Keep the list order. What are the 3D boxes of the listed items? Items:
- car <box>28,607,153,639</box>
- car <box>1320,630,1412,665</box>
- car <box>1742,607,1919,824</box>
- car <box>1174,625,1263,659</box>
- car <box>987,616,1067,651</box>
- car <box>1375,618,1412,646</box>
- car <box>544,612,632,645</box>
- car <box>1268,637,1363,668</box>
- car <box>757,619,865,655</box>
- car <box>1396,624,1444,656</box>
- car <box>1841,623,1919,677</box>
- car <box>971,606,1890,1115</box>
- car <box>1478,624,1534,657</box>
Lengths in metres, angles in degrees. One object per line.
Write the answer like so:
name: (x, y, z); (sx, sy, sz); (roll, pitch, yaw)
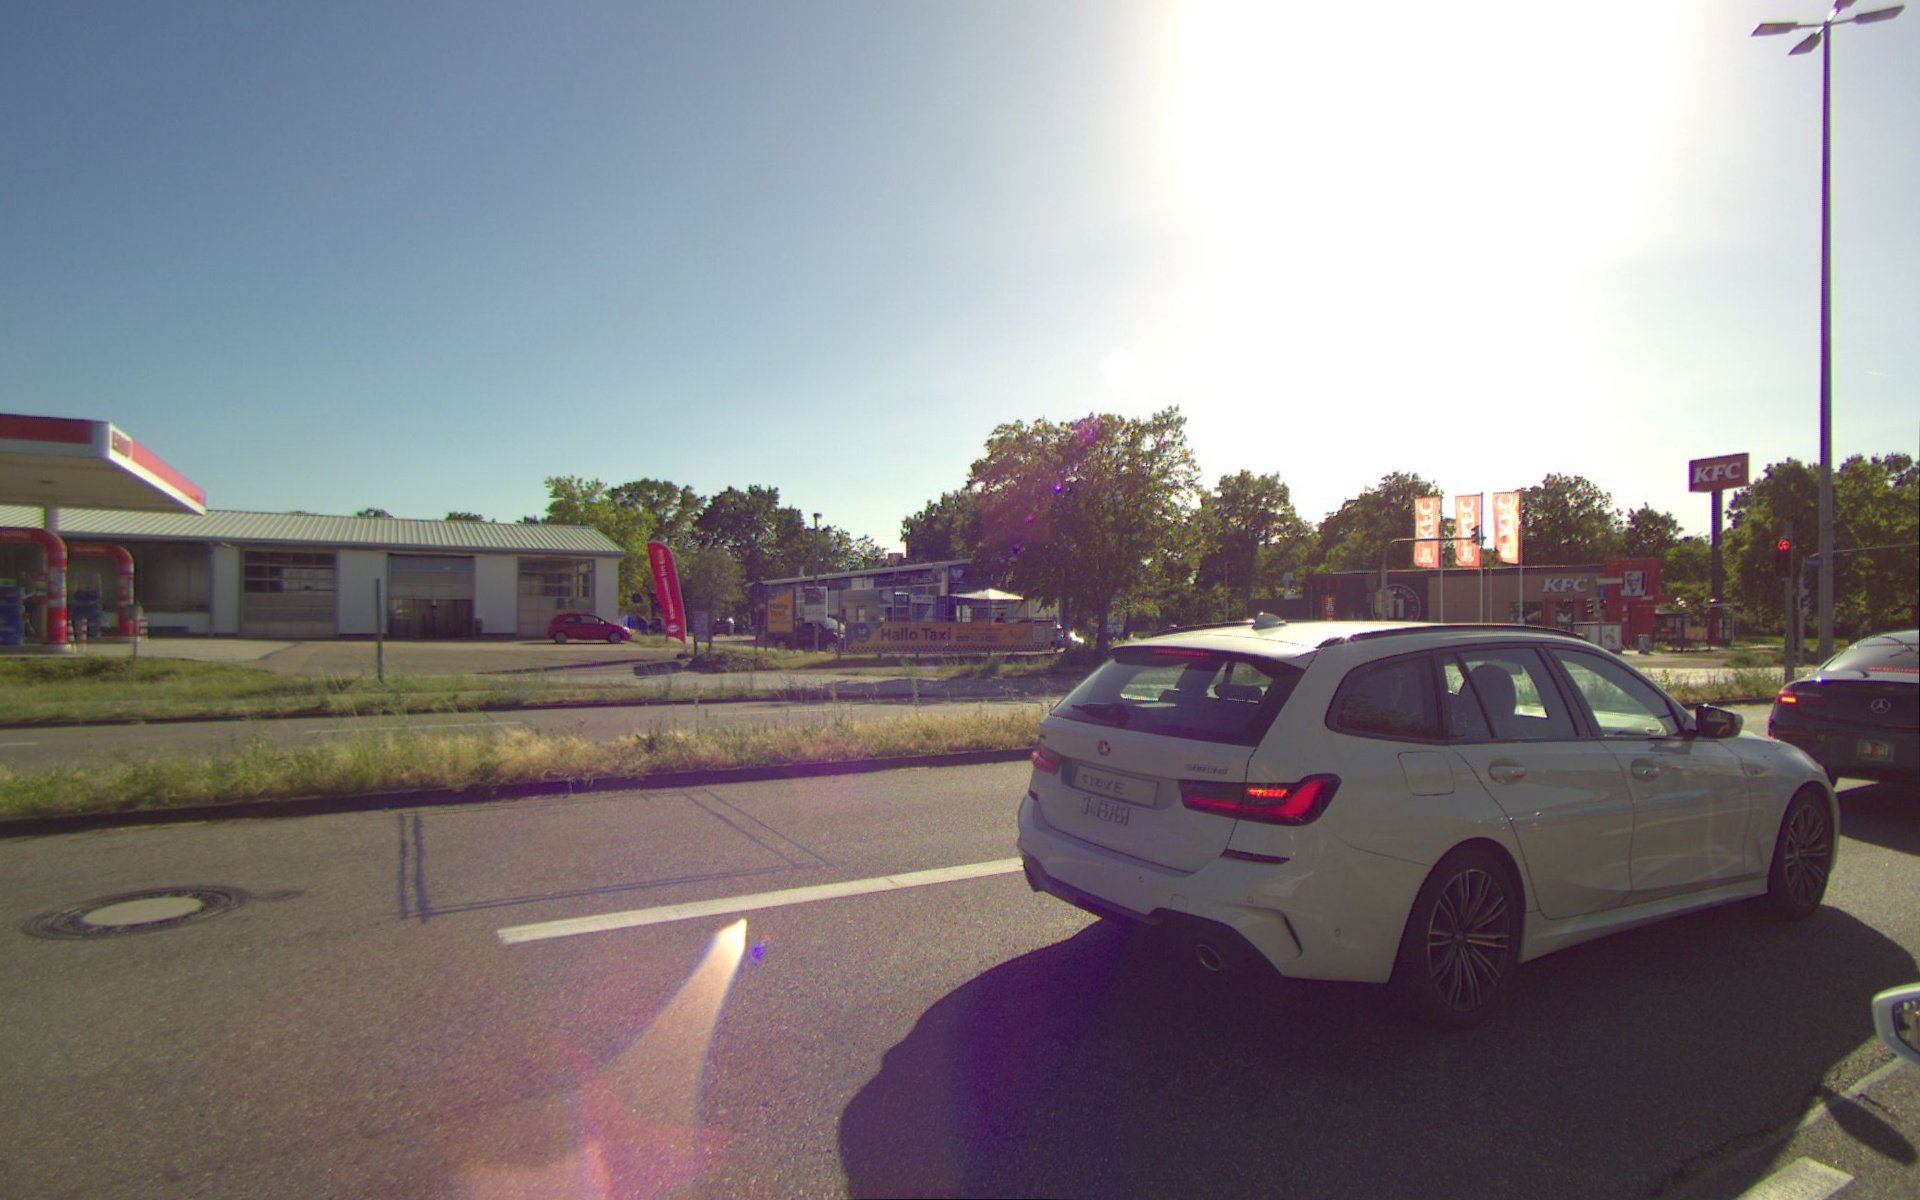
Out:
car: (-36.359, 0.975, 42.126); (3.688, 1.203, 1.667); (2, 0, -30)
car: (20.104, 2.337, 49.871); (1.913, 1.472, 3.936); (2, 0, -29)
car: (8.804, 0.886, 8.631); (4.491, 1.572, 1.803); (1, 0, -31)
car: (13.946, 2.241, 54.438); (1.914, 1.600, 4.599); (2, 0, -31)
car: (3.110, 1.554, 47.455); (1.974, 1.461, 3.972); (2, 0, -27)
car: (31.513, 2.298, 73.144); (1.960, 1.837, 3.774); (2, 0, 16)
car: (-18.284, 1.416, 49.333); (3.949, 1.491, 1.521); (2, 0, -24)
car: (17.012, 2.487, 48.220); (1.850, 1.268, 4.062); (2, 0, -31)
car: (-5.815, 1.423, 39.126); (3.930, 1.193, 1.774); (2, 0, 31)
car: (28.046, 2.415, 61.379); (1.896, 1.763, 4.099); (2, 0, 14)
car: (28.707, 1.484, 28.938); (4.752, 1.487, 1.754); (2, 0, 33)
car: (2.459, 0.821, 4.916); (4.541, 1.506, 1.804); (1, -1, -30)
car: (32.686, 2.390, 60.228); (1.896, 1.763, 4.099); (2, 0, 14)
